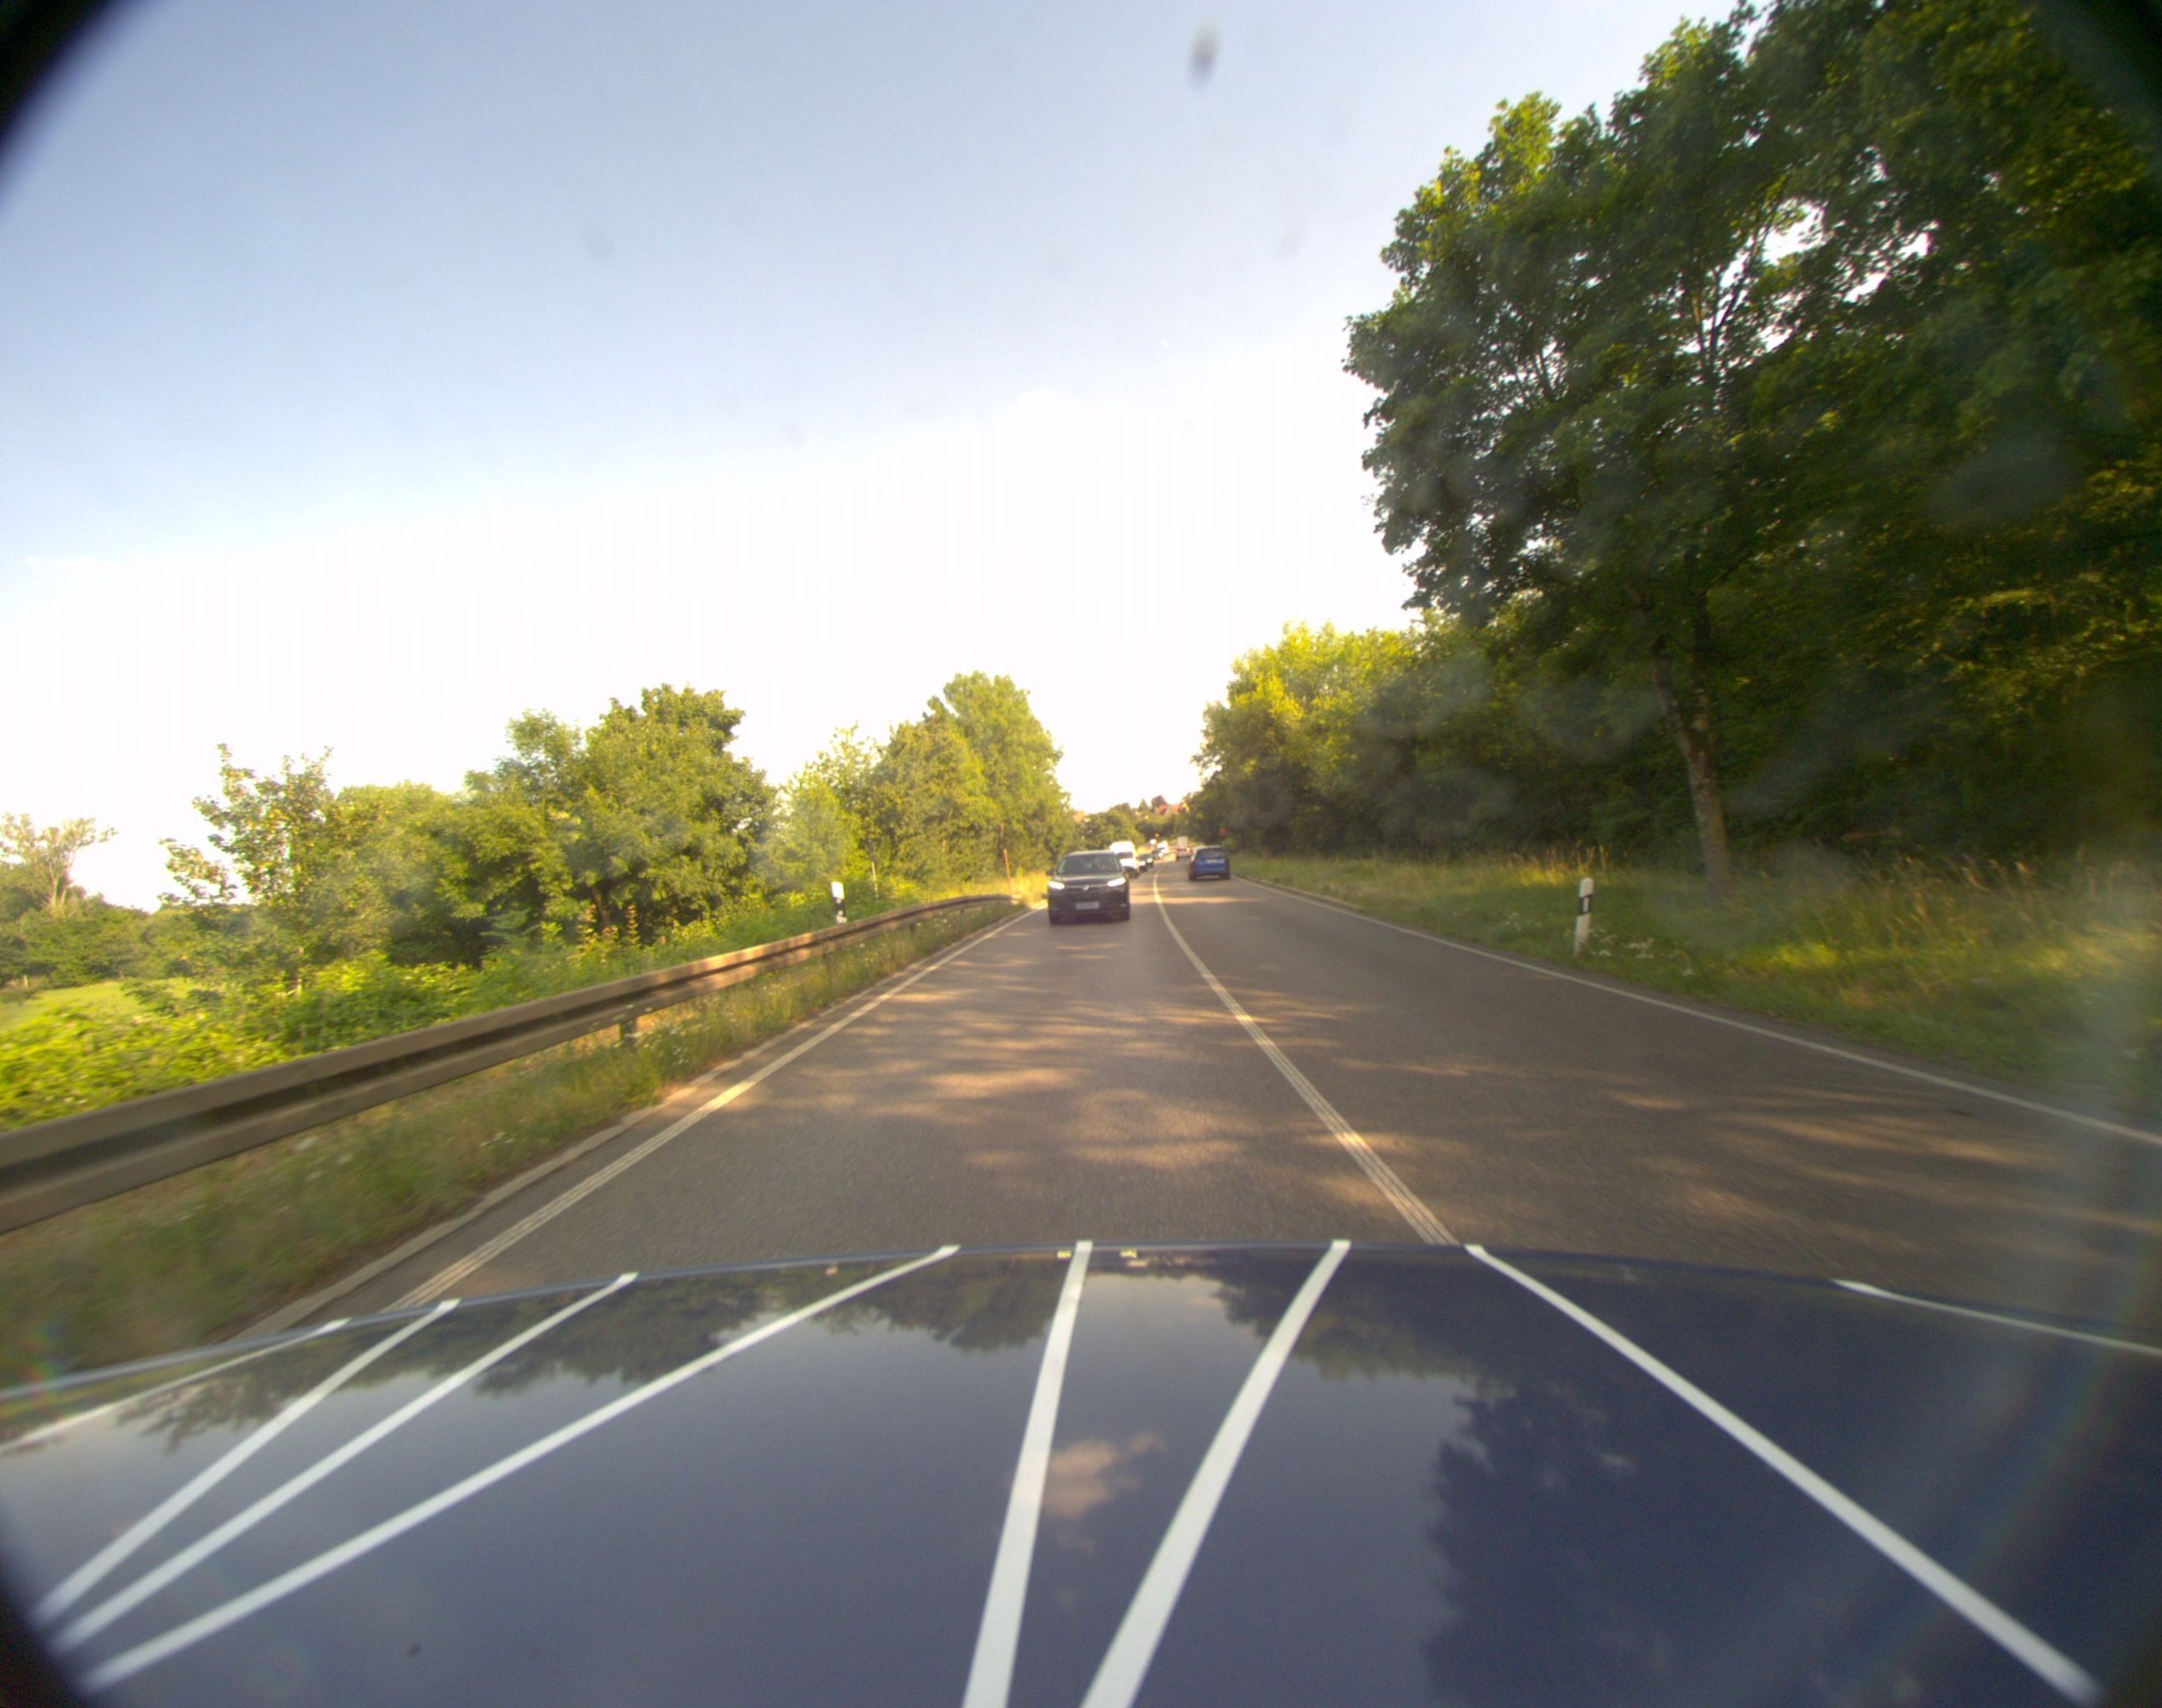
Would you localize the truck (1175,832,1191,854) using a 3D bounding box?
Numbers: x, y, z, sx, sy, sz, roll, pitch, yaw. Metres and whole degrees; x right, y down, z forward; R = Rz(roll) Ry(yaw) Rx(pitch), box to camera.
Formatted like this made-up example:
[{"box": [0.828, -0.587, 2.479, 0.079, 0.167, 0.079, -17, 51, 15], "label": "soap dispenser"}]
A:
[{"box": [25.715, -2.687, 191.745, 3.630, 5.140, 10.466, -2, 0, 7], "label": "truck"}]

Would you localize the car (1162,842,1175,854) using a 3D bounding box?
[{"box": [18.445, -1.312, 160.305, 2.086, 2.403, 5.146, -2, 1, 12], "label": "car"}]

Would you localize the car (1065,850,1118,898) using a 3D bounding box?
[{"box": [0.359, 0.744, 30.660, 1.922, 1.718, 4.701, -3, 0, -1], "label": "car"}]

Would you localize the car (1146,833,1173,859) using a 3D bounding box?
[{"box": [7.922, -0.829, 77.061, 2.088, 2.403, 5.141, -2, 1, 0], "label": "car"}]

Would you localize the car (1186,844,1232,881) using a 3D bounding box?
[{"box": [6.210, 0.355, 37.188, 1.900, 1.622, 4.252, -2, 1, 6], "label": "car"}]

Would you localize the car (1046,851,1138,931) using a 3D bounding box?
[{"box": [0.208, 0.789, 18.670, 1.922, 1.612, 4.700, -2, 1, -1], "label": "car"}]

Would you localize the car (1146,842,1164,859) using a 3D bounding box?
[{"box": [10.775, -0.534, 110.348, 2.086, 2.403, 5.146, -2, 1, 12], "label": "car"}]

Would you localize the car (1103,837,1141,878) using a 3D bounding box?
[{"box": [2.706, 0.192, 49.204, 2.087, 2.403, 5.143, -2, 1, 6], "label": "car"}]

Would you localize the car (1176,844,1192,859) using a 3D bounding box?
[{"box": [12.716, -0.317, 93.609, 1.894, 1.622, 4.253, -2, 1, 9], "label": "car"}]

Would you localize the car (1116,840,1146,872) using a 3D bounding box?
[{"box": [4.069, 0.131, 62.858, 2.088, 2.403, 5.141, -2, 1, 0], "label": "car"}]
